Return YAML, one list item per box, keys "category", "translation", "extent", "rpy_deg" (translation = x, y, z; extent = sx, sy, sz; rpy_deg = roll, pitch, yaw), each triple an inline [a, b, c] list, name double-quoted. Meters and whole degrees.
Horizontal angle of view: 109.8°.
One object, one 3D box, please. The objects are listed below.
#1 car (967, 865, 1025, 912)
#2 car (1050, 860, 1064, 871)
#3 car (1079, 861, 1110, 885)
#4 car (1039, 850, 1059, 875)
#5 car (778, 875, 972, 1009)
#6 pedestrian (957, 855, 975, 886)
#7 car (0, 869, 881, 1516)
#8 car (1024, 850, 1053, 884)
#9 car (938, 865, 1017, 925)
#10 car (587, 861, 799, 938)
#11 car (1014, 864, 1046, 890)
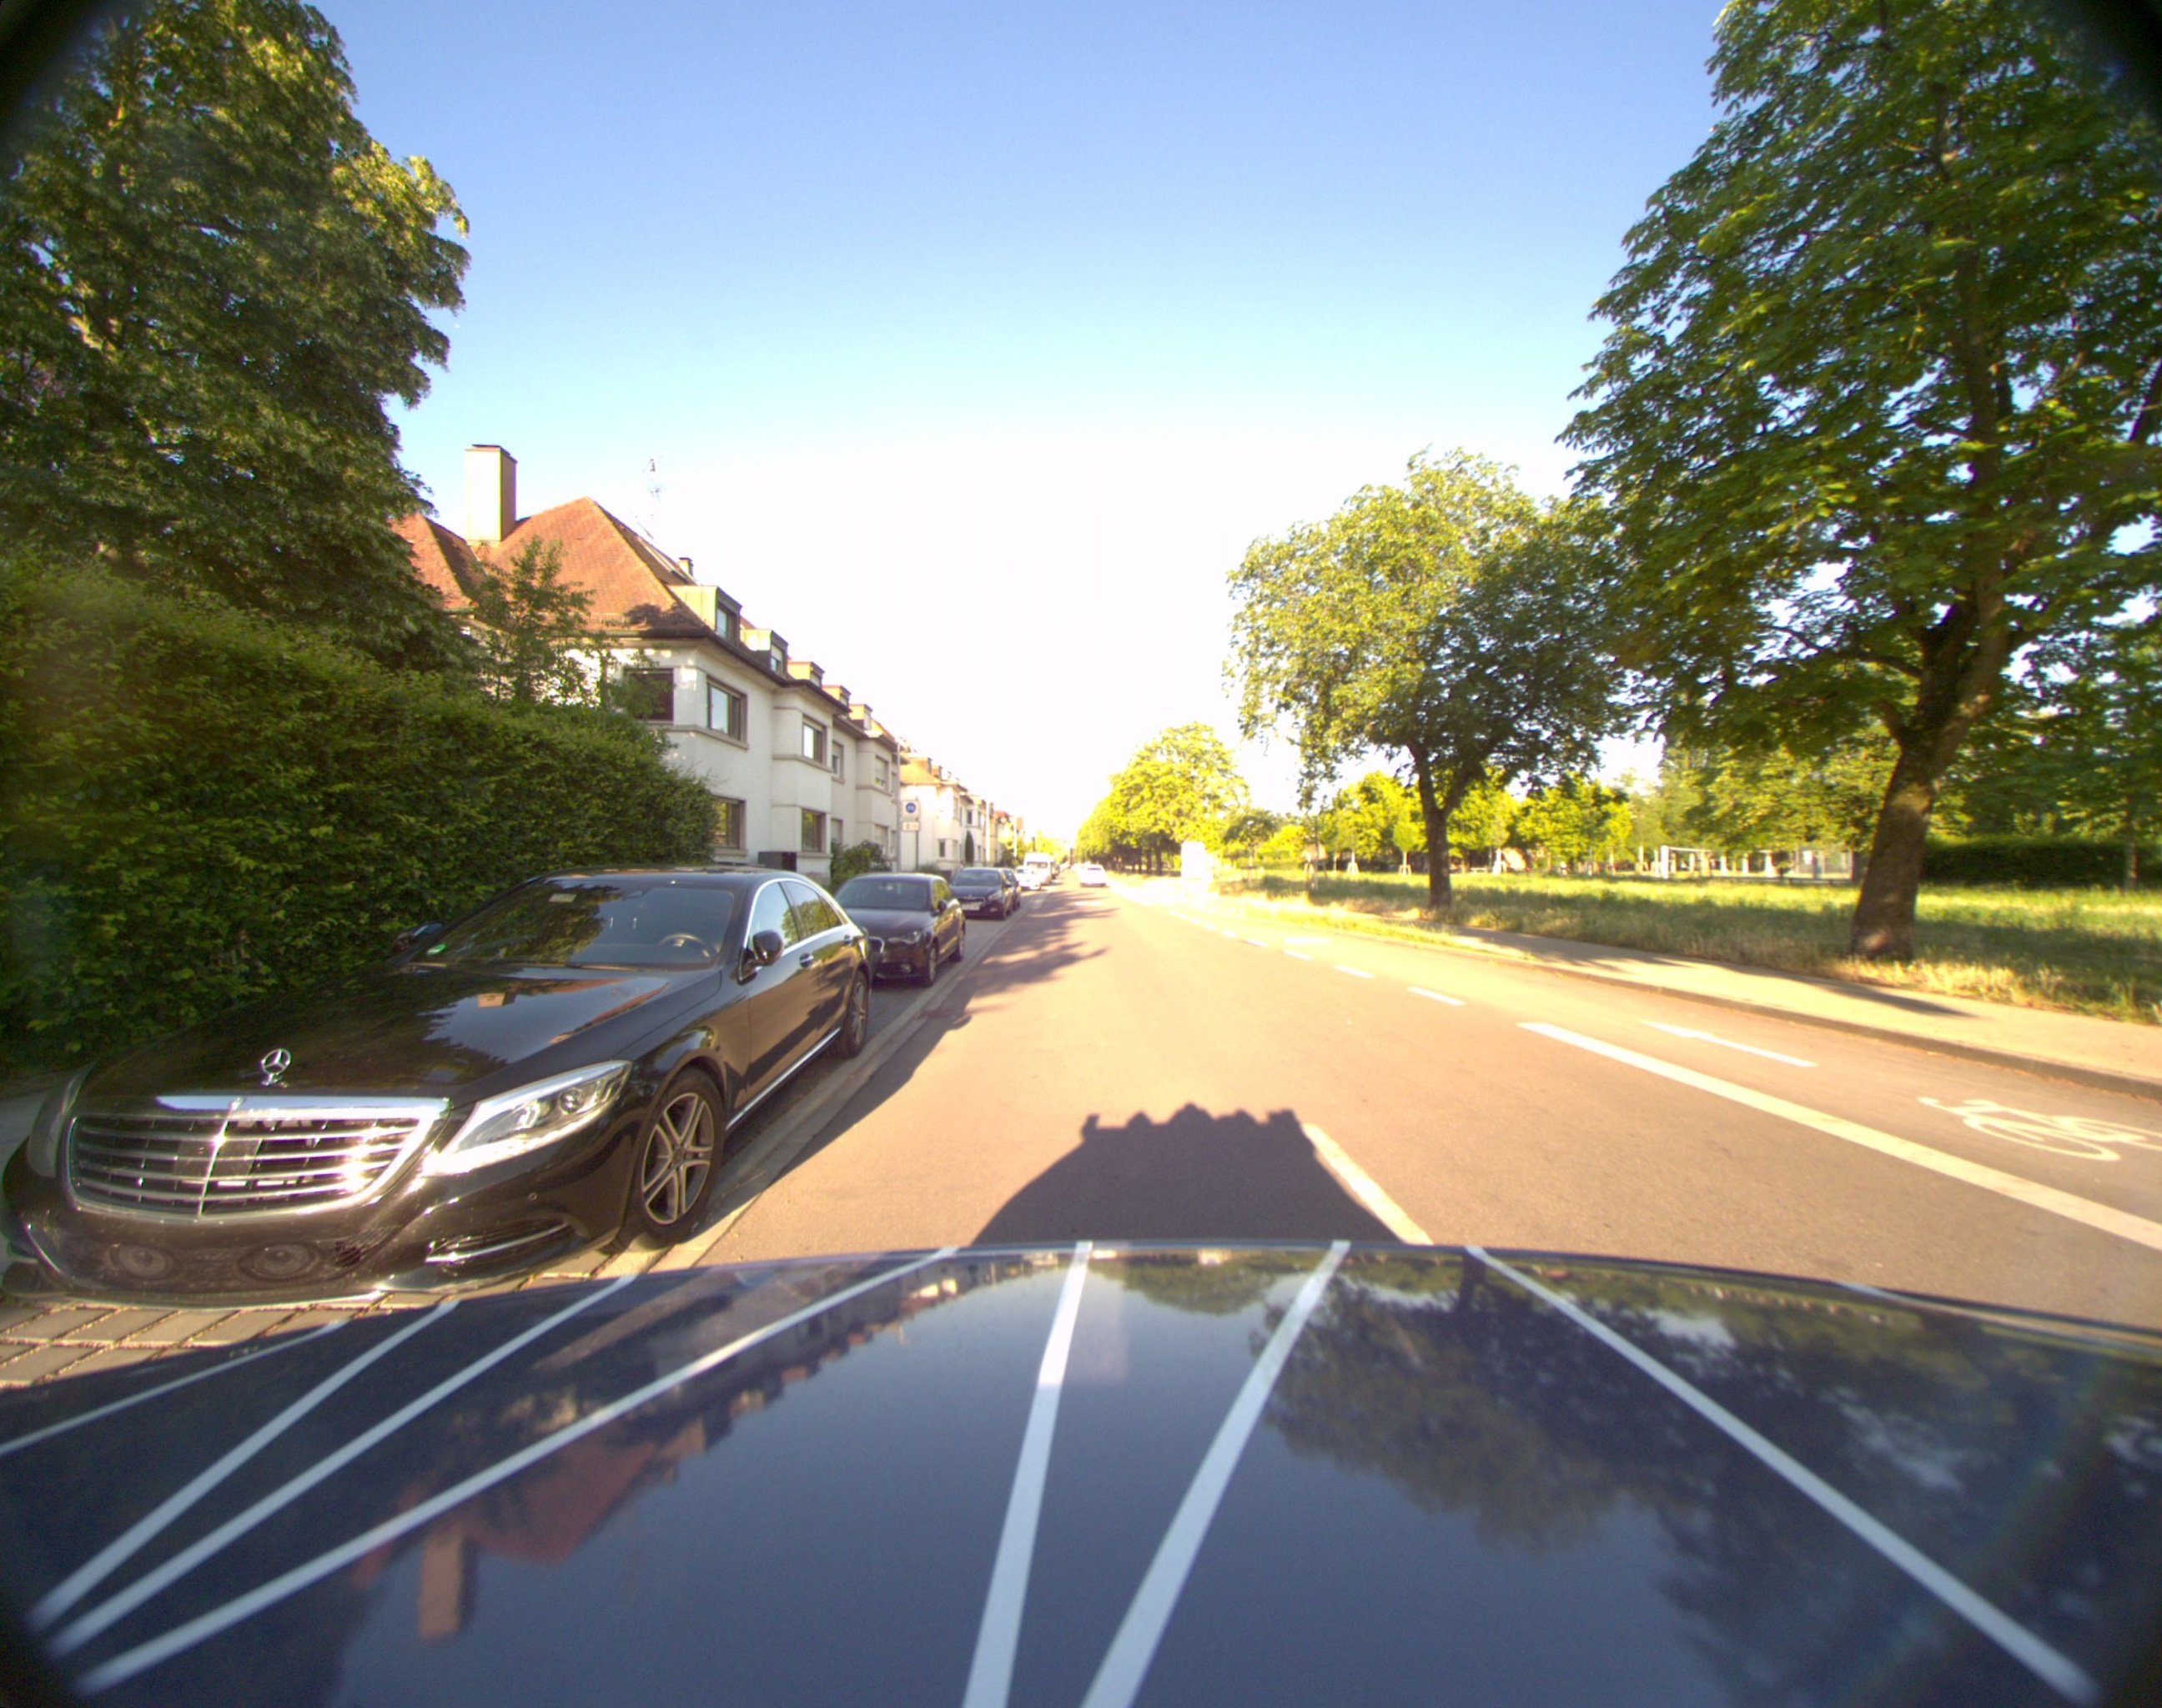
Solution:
- category: "car"
  translation: [-3.007, 1.194, 27.584]
  extent: [1.723, 1.462, 3.983]
  rpy_deg: [2, 0, -2]
- category: "car"
  translation: [-3.655, 1.745, 116.680]
  extent: [1.974, 1.630, 4.000]
  rpy_deg: [2, -1, -1]
- category: "car"
  translation: [0.984, 1.365, 56.263]
  extent: [1.896, 1.667, 4.423]
  rpy_deg: [-1, 0, -4]
- category: "car"
  translation: [-3.805, 1.012, 90.175]
  extent: [2.134, 2.837, 5.987]
  rpy_deg: [-1, -1, -1]
- category: "car"
  translation: [-2.658, 1.071, 10.733]
  extent: [1.645, 1.419, 3.936]
  rpy_deg: [2, 0, 0]
- category: "pedestrian"
  translation: [-7.398, 1.060, 48.817]
  extent: [1.089, 2.002, 0.865]
  rpy_deg: [0, 0, -16]
- category: "car"
  translation: [-2.632, 0.903, 4.332]
  extent: [1.864, 1.533, 4.872]
  rpy_deg: [1, 0, -3]
- category: "car"
  translation: [-3.285, 1.003, 59.478]
  extent: [2.135, 2.503, 5.507]
  rpy_deg: [1, 0, -2]
- category: "car"
  translation: [-2.926, 1.109, 22.252]
  extent: [1.751, 1.466, 4.255]
  rpy_deg: [3, 0, -1]
- category: "car"
  translation: [-8.230, 0.950, 16.397]
  extent: [3.644, 1.487, 1.780]
  rpy_deg: [2, 0, -5]
- category: "car"
  translation: [-3.094, 1.388, 46.592]
  extent: [1.787, 1.498, 4.233]
  rpy_deg: [-1, 0, -2]
